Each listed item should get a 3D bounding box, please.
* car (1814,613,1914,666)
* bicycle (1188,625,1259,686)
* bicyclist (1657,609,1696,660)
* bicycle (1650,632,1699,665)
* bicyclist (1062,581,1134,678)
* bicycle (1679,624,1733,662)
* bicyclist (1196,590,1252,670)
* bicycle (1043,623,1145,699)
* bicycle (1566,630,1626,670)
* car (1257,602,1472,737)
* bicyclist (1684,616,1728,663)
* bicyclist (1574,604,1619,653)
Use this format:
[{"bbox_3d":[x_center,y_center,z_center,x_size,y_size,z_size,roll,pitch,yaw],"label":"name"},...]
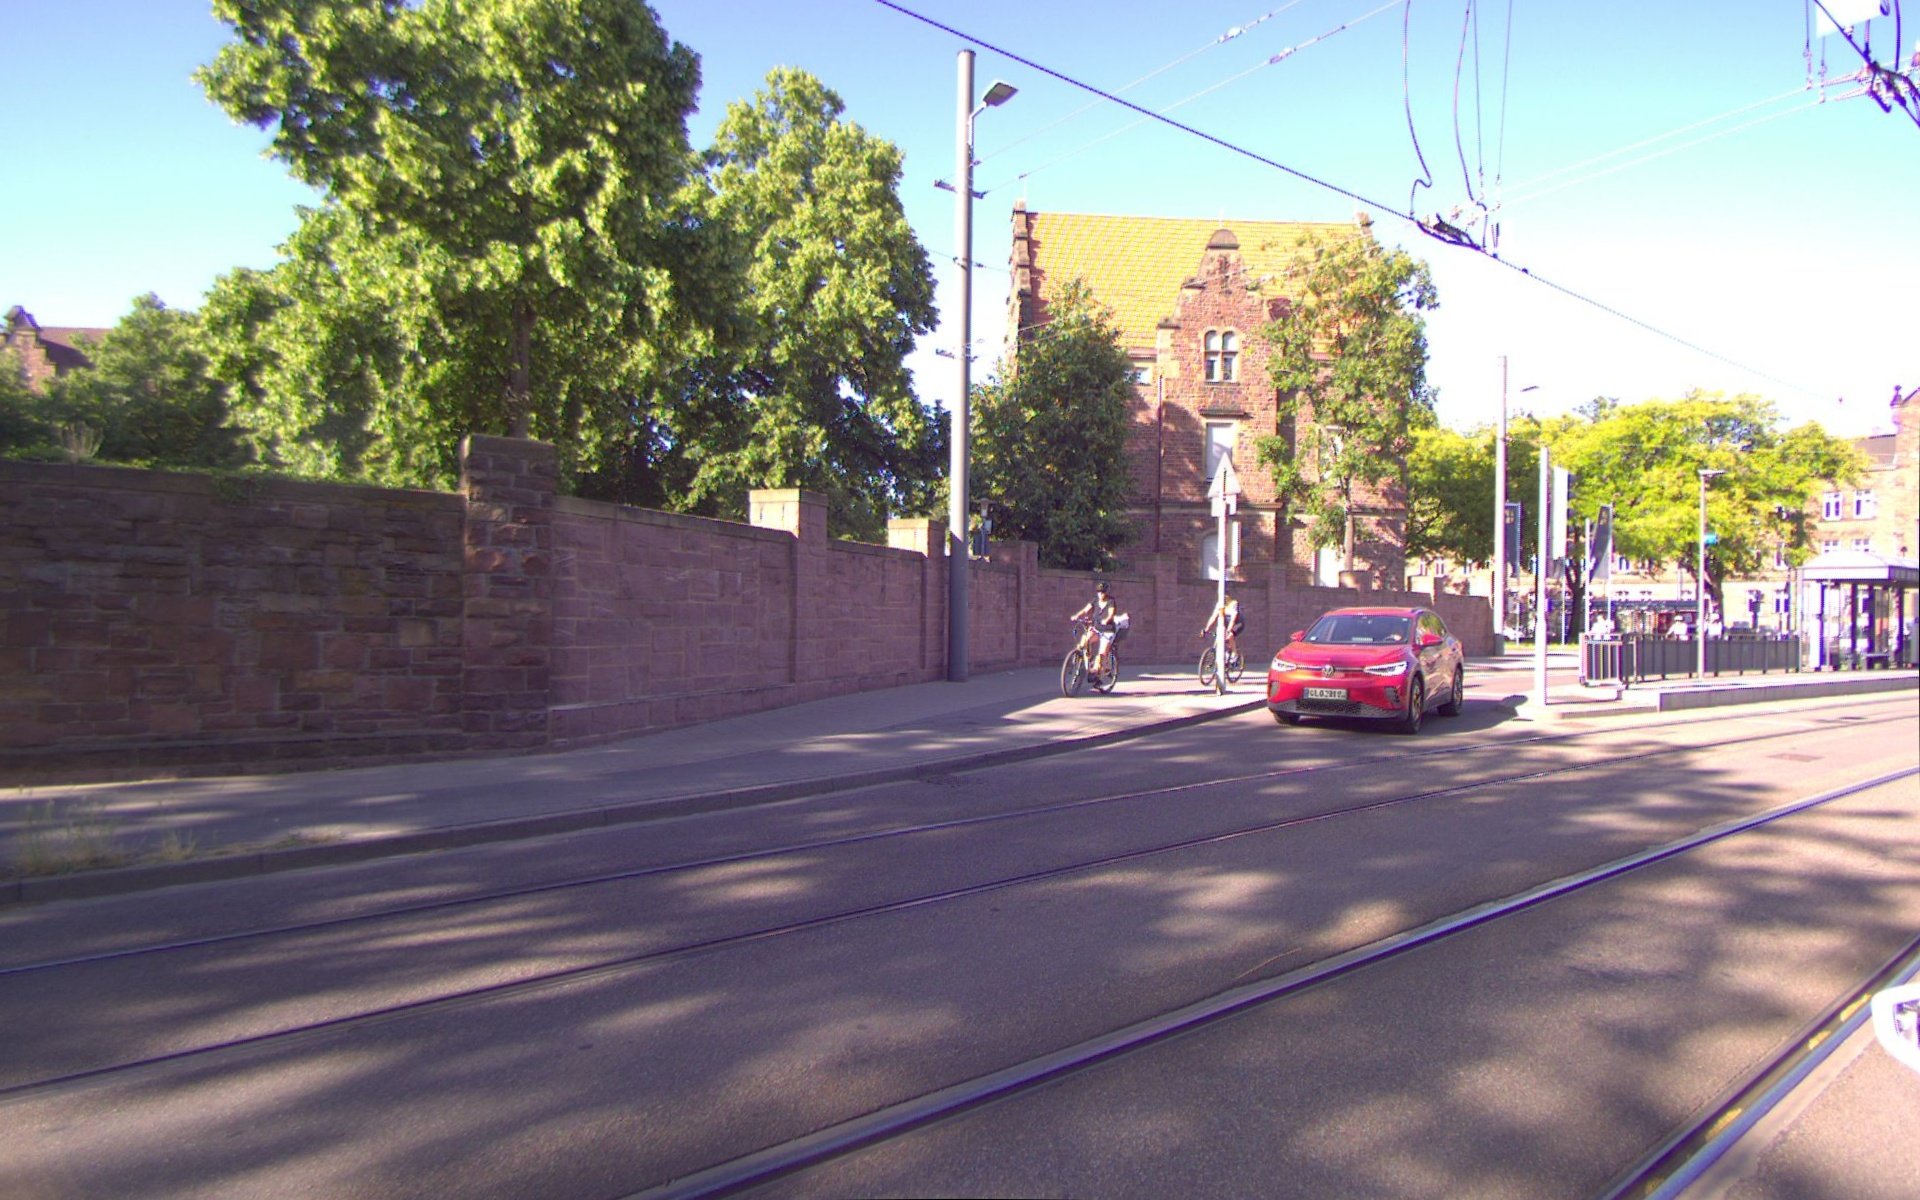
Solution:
[{"bbox_3d":[32.914,1.424,36.535,4.213,1.812,1.815,1,-1,-35],"label":"car"},{"bbox_3d":[5.100,1.033,19.361,0.676,1.103,1.848,1,-1,37],"label":"bicycle"},{"bbox_3d":[24.927,1.189,34.954,1.219,1.697,0.646,0,2,-32],"label":"bicyclist"},{"bbox_3d":[24.868,1.676,34.939,1.993,1.087,0.665,1,1,-32],"label":"bicycle"},{"bbox_3d":[2.190,0.457,15.880,0.644,1.478,1.148,1,0,37],"label":"bicyclist"},{"bbox_3d":[25.379,1.464,34.149,2.065,1.247,0.773,1,0,-32],"label":"bicycle"},{"bbox_3d":[5.085,0.561,19.329,0.644,1.478,1.148,1,0,37],"label":"bicyclist"},{"bbox_3d":[2.142,0.925,15.819,0.676,1.103,2.056,1,-1,37],"label":"bicycle"},{"bbox_3d":[20.170,1.572,31.868,1.930,1.214,0.811,2,0,-31],"label":"bicycle"},{"bbox_3d":[5.954,0.884,14.479,1.795,1.628,4.342,1,-1,37],"label":"car"},{"bbox_3d":[25.371,1.345,34.145,1.333,1.557,0.756,1,0,-32],"label":"bicyclist"},{"bbox_3d":[20.190,0.904,31.868,1.177,1.490,0.752,2,0,-31],"label":"bicyclist"}]
